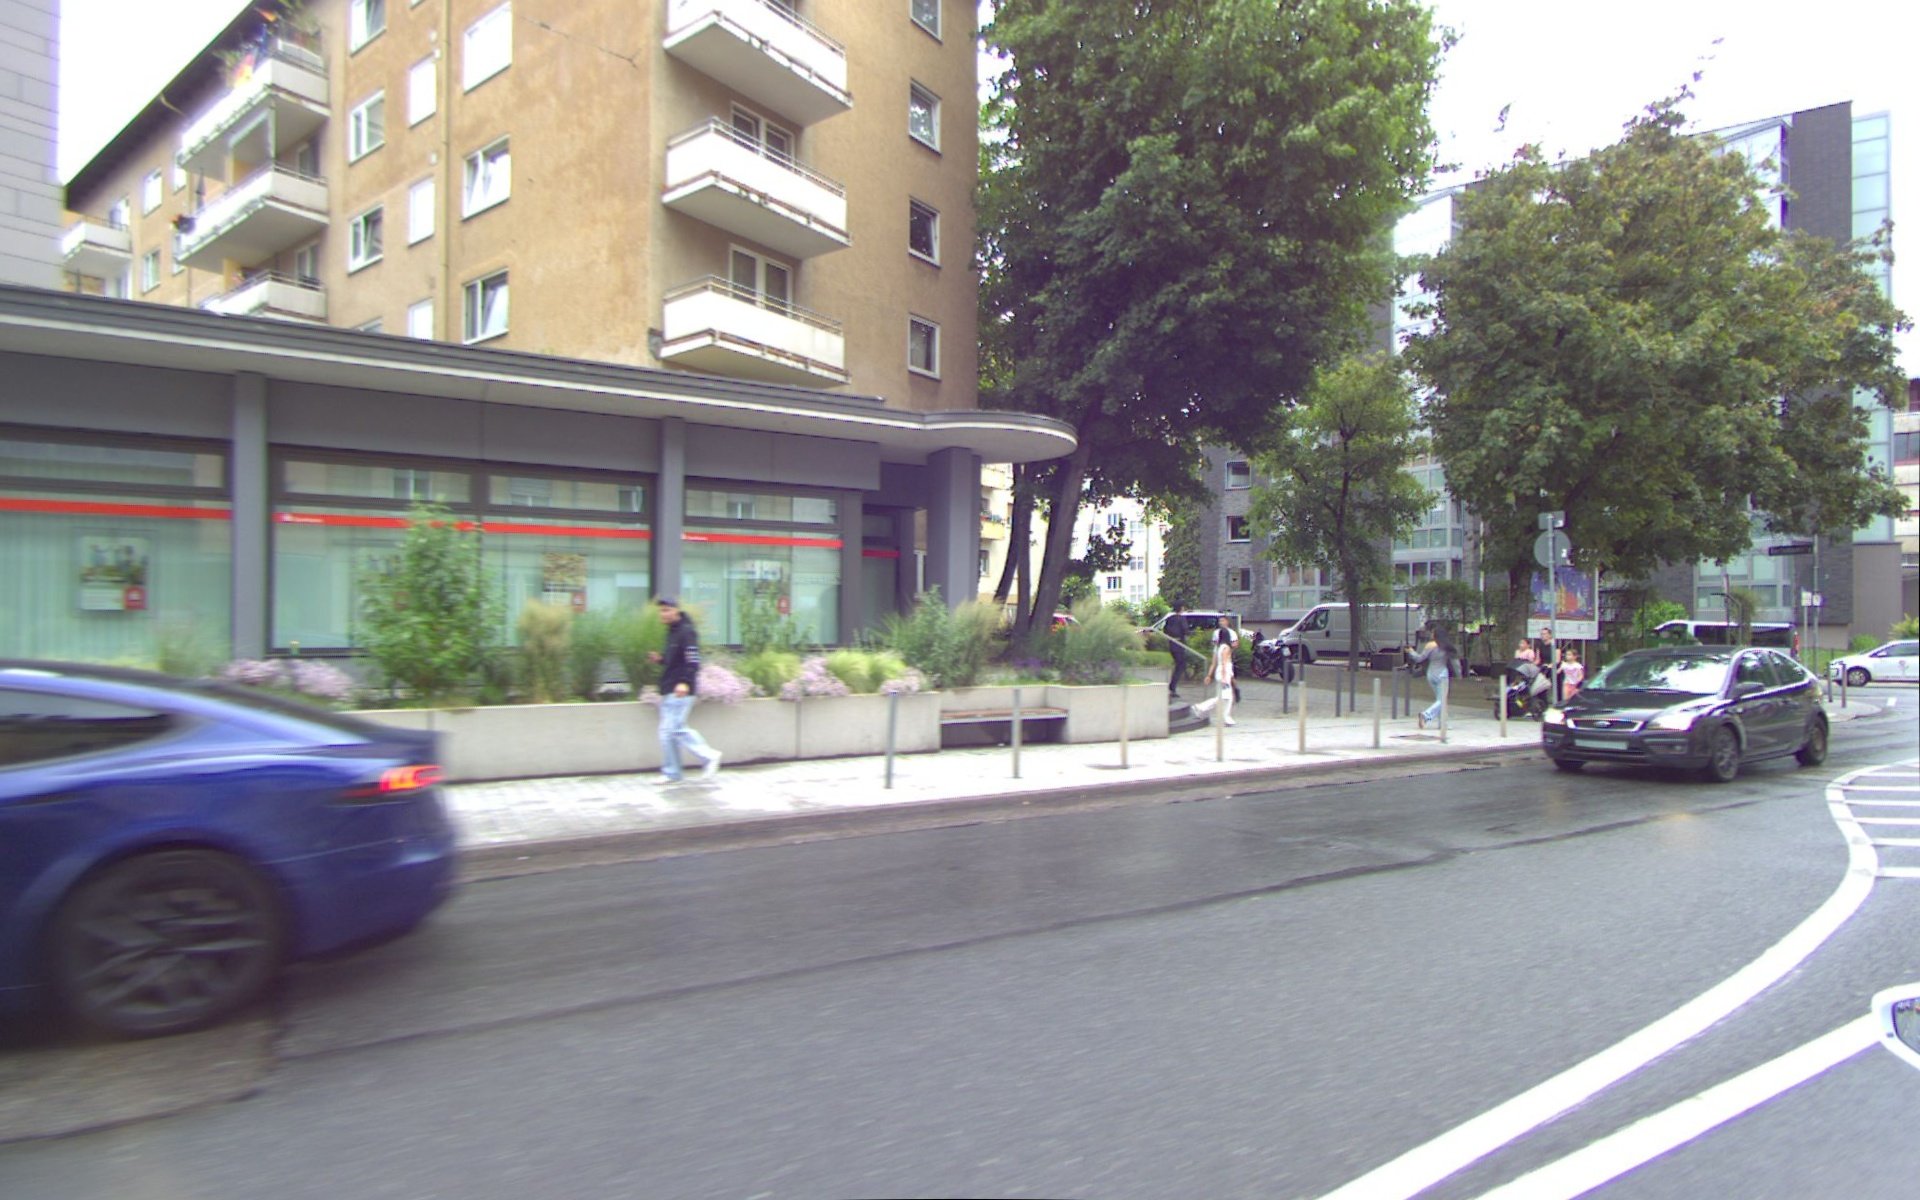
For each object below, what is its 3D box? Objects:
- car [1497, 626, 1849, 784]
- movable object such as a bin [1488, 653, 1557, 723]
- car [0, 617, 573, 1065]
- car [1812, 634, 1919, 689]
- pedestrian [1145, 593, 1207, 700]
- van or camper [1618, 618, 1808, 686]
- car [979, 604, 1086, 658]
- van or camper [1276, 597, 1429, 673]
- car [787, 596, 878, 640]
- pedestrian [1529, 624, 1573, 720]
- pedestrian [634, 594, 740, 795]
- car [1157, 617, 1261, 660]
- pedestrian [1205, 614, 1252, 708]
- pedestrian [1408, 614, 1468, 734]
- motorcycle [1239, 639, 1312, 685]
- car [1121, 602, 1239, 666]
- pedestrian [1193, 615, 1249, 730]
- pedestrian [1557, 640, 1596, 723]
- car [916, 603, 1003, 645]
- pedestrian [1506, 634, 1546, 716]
[{"bbox_3d":[8.577,1.159,12.018,4.197,1.577,1.945,1,-5,-33],"label":"car"},{"bbox_3d":[10.014,1.551,17.897,0.955,1.149,0.699,1,0,-34],"label":"movable object such as a bin"},{"bbox_3d":[-4.282,0.872,3.986,4.859,1.531,1.944,1,-4,-33],"label":"car"},{"bbox_3d":[29.340,1.914,31.604,3.523,1.590,1.739,1,0,27],"label":"car"},{"bbox_3d":[3.892,0.831,18.105,0.690,1.869,0.851,2,-1,-45],"label":"pedestrian"},{"bbox_3d":[25.225,1.686,33.906,4.880,2.040,1.996,1,0,31],"label":"van or camper"},{"bbox_3d":[3.002,1.264,41.868,3.930,2.040,1.995,2,0,32],"label":"car"},{"bbox_3d":[13.474,1.126,34.500,4.536,2.297,2.207,2,1,31],"label":"van or camper"},{"bbox_3d":[-6.037,0.864,47.594,3.932,2.040,1.995,-1,-2,33],"label":"car"},{"bbox_3d":[10.748,1.292,18.270,0.547,1.695,0.494,1,-1,-34],"label":"pedestrian"},{"bbox_3d":[-2.649,0.871,9.759,0.712,1.850,0.718,1,0,41],"label":"pedestrian"},{"bbox_3d":[10.724,1.647,43.349,3.933,1.751,1.994,0,-2,34],"label":"car"},{"bbox_3d":[5.398,1.203,20.197,0.711,1.850,0.720,1,0,32],"label":"pedestrian"},{"bbox_3d":[7.681,1.157,16.136,0.712,1.850,0.851,1,0,37],"label":"pedestrian"},{"bbox_3d":[8.105,1.584,25.911,0.783,1.001,2.052,1,1,-15],"label":"motorcycle"},{"bbox_3d":[8.304,1.266,37.917,3.931,2.285,1.995,-1,-2,32],"label":"car"},{"bbox_3d":[4.186,1.140,16.110,0.646,1.782,0.718,0,-1,36],"label":"pedestrian"},{"bbox_3d":[10.931,1.432,17.809,0.476,1.429,0.430,1,-1,-34],"label":"pedestrian"},{"bbox_3d":[-0.039,1.191,50.242,3.933,2.040,1.994,0,-1,34],"label":"car"},{"bbox_3d":[10.568,1.385,18.748,0.525,1.493,0.457,1,-1,-34],"label":"pedestrian"}]
